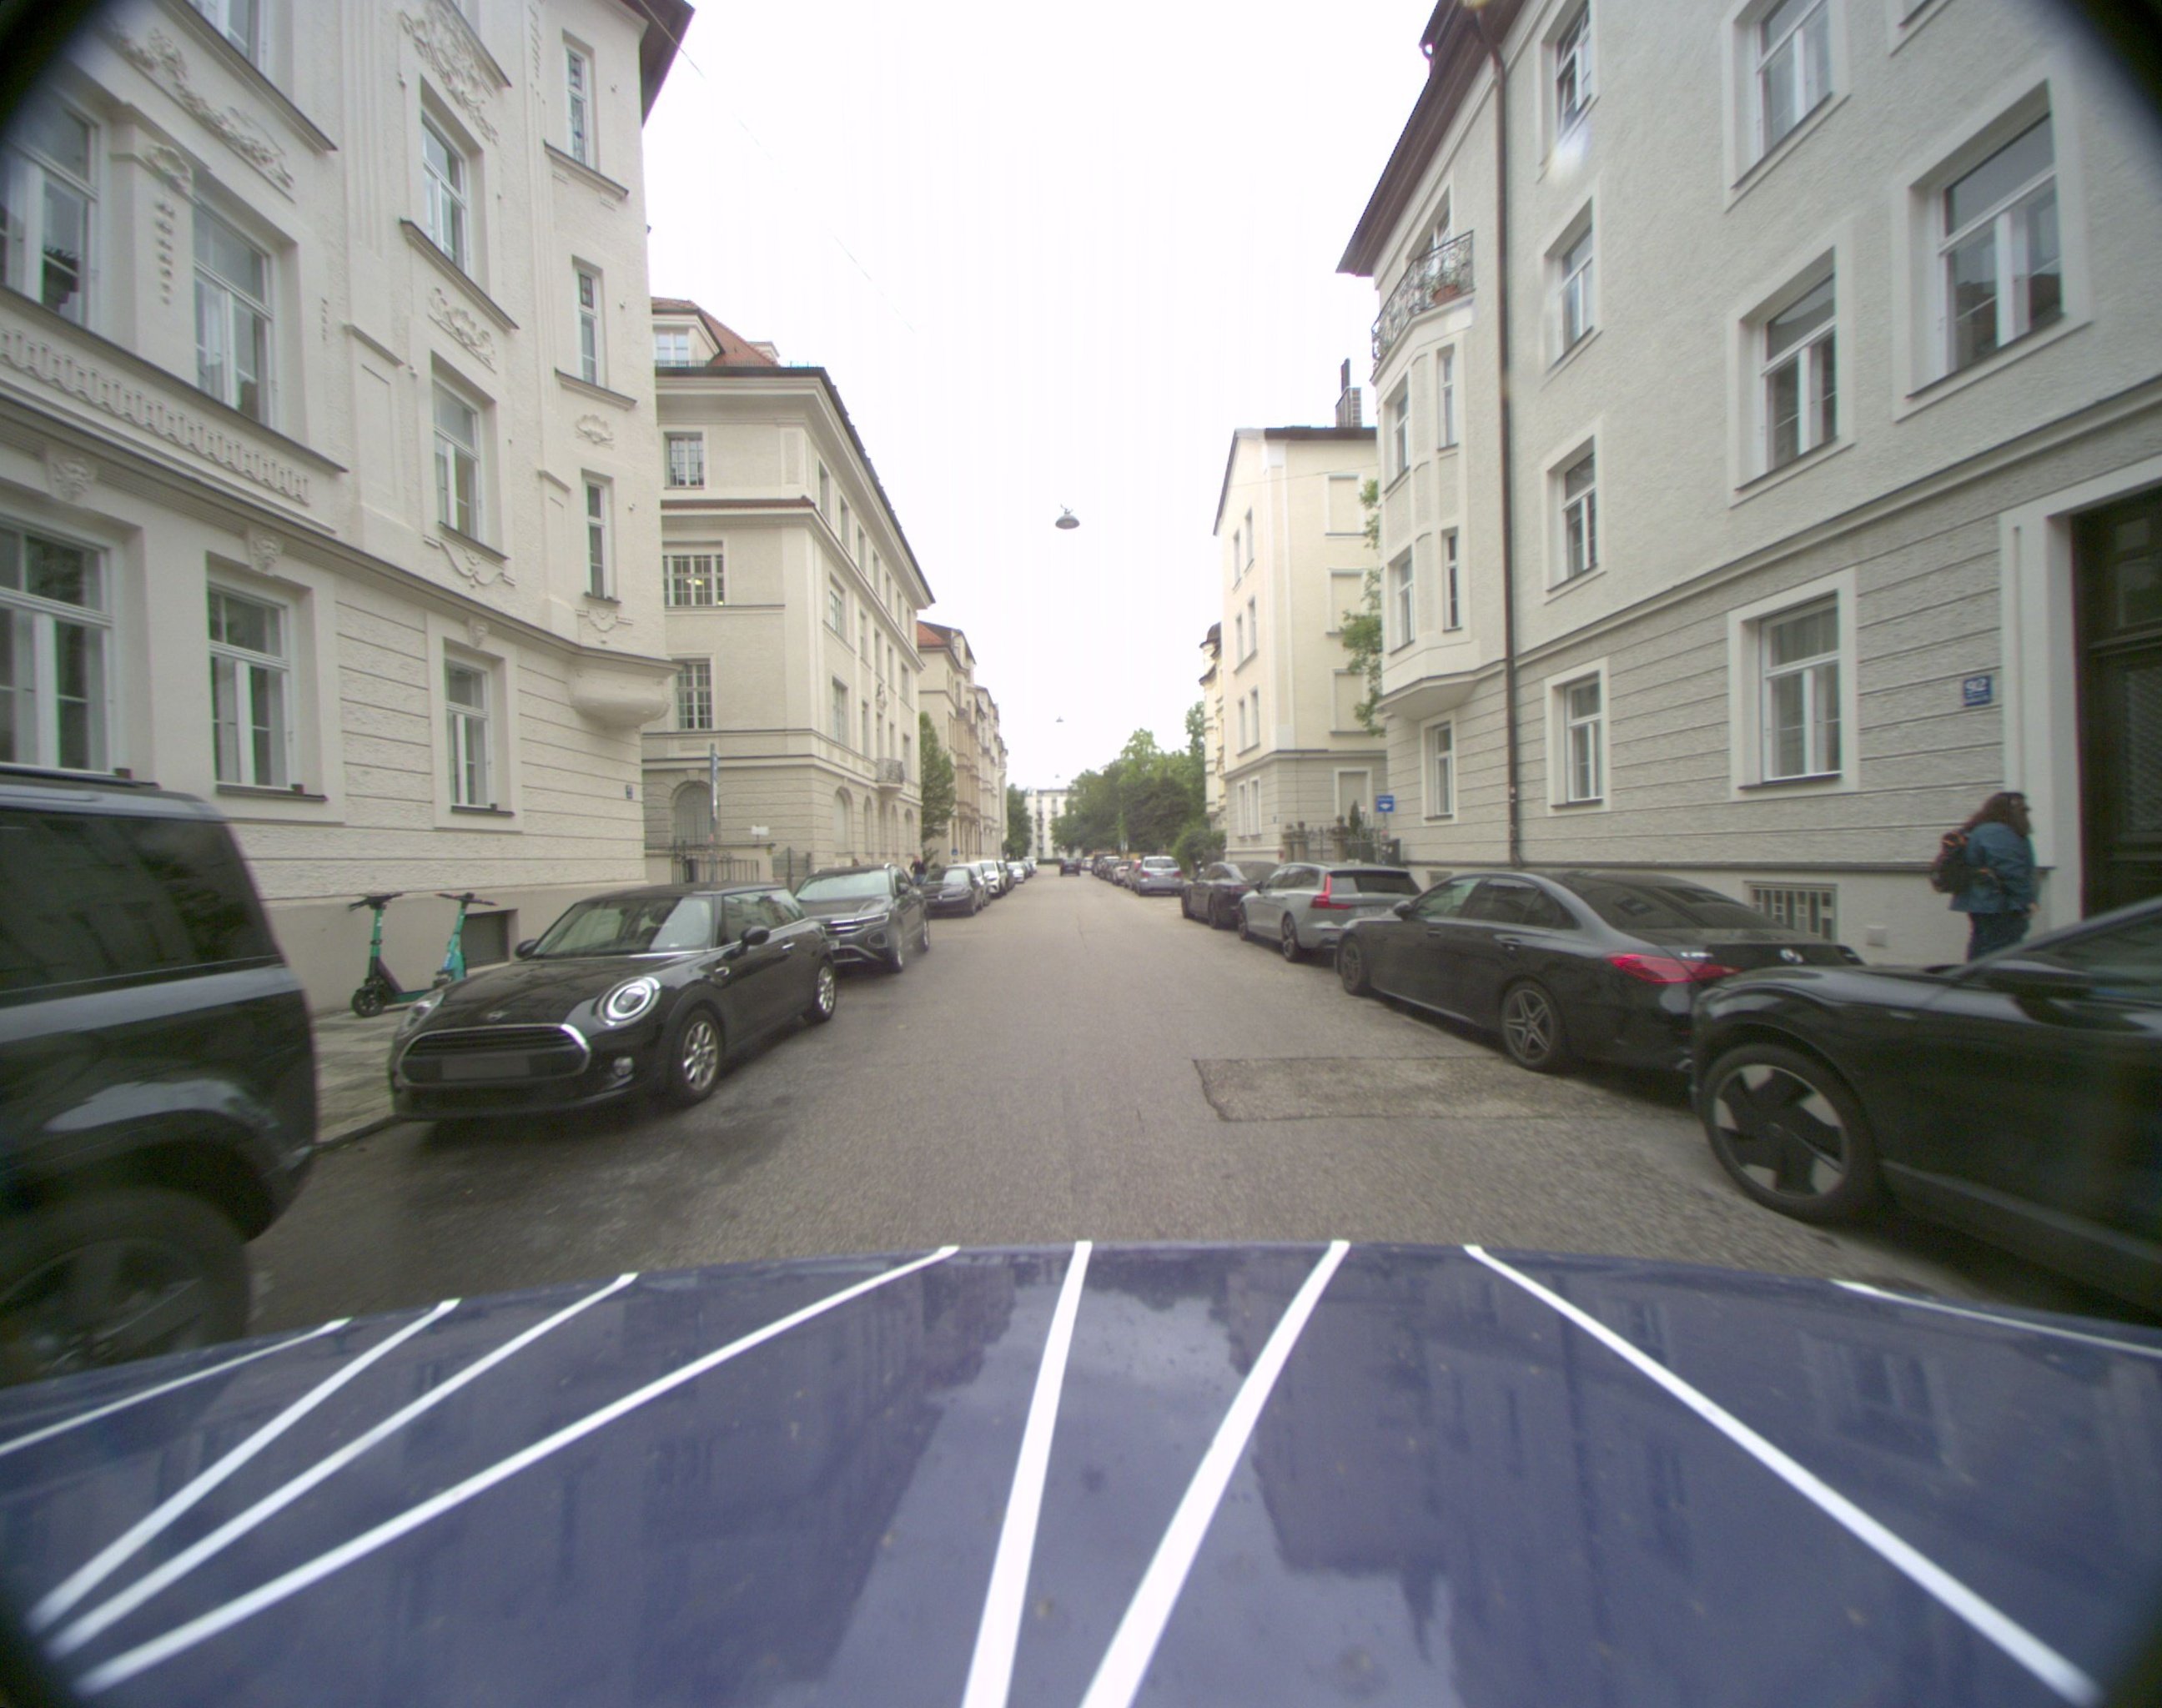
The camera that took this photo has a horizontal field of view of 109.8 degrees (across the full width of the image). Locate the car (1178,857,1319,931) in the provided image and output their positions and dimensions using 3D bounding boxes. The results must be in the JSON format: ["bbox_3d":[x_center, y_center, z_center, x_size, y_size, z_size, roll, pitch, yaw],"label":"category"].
[{"bbox_3d":[3.582,0.795,17.230,1.855,1.359,4.700,-2,0,-4],"label":"car"}]

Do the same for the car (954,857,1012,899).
[{"bbox_3d":[-4.152,0.976,32.721,1.900,1.626,4.391,-2,-1,0],"label":"car"}]

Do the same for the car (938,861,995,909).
[{"bbox_3d":[-4.138,1.075,27.997,1.713,1.492,3.998,-3,0,-4],"label":"car"}]

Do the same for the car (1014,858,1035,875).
[{"bbox_3d":[-5.061,1.120,68.512,1.646,1.409,3.999,-3,0,-1],"label":"car"}]

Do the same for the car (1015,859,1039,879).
[{"bbox_3d":[-4.495,1.258,63.845,1.746,1.390,4.021,-4,1,-1],"label":"car"}]

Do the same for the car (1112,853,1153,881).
[{"bbox_3d":[2.809,0.681,42.252,1.802,1.426,4.078,-2,1,-2],"label":"car"}]

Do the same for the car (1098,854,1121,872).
[{"bbox_3d":[2.360,0.729,64.068,1.647,1.422,3.918,1,0,-3],"label":"car"}]

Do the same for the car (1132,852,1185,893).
[{"bbox_3d":[3.119,0.709,31.276,1.701,1.571,4.061,0,0,-1],"label":"car"}]

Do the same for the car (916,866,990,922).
[{"bbox_3d":[-3.765,1.127,22.980,1.617,1.387,3.999,-4,0,-2],"label":"car"}]

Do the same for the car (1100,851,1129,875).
[{"bbox_3d":[2.601,0.662,59.805,1.811,1.638,4.484,-5,0,-2],"label":"car"}]

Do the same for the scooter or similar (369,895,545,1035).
[{"bbox_3d":[-6.688,1.136,8.242,0.541,1.280,1.504,0,1,7],"label":"scooter or similar"}]

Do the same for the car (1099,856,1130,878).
[{"bbox_3d":[2.351,0.895,54.354,1.773,1.412,3.998,-2,1,-4],"label":"car"}]

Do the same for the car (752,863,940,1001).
[{"bbox_3d":[-3.336,1.007,11.591,1.712,1.578,3.999,-4,0,-3],"label":"car"}]

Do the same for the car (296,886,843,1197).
[{"bbox_3d":[-3.300,1.085,5.861,1.668,1.387,3.581,-4,0,1],"label":"car"}]

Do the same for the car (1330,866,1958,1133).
[{"bbox_3d":[3.930,0.843,6.487,1.816,1.377,4.441,-1,0,-5],"label":"car"}]

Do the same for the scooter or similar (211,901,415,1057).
[{"bbox_3d":[-7.378,1.143,7.385,0.507,1.280,1.352,0,1,7],"label":"scooter or similar"}]

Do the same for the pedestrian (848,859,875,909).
[{"bbox_3d":[-7.412,0.997,25.654,0.684,1.669,0.812,0,0,-2],"label":"pedestrian"}]

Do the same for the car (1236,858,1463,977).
[{"bbox_3d":[3.806,0.808,11.724,1.799,1.411,4.509,1,1,-1],"label":"car"}]

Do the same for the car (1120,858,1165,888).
[{"bbox_3d":[2.966,0.886,37.251,1.649,1.395,3.998,0,0,-4],"label":"car"}]

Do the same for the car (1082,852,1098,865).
[{"bbox_3d":[1.109,0.563,96.495,1.705,1.552,3.929,-1,0,-3],"label":"car"}]

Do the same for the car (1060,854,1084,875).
[{"bbox_3d":[-0.824,0.863,66.040,1.729,1.525,4.083,-5,1,-3],"label":"car"}]

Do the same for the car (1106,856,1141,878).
[{"bbox_3d":[2.763,0.803,49.853,1.740,1.357,4.191,0,0,-4],"label":"car"}]

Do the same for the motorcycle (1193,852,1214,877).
[{"bbox_3d":[6.714,0.550,41.601,0.706,1.242,1.820,-4,1,-3],"label":"motorcycle"}]

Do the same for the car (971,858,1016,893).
[{"bbox_3d":[-4.272,1.028,37.748,1.753,1.516,4.169,-3,0,-1],"label":"car"}]

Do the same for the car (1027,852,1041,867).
[{"bbox_3d":[-6.768,0.741,108.527,1.794,1.926,4.083,-4,0,-4],"label":"car"}]

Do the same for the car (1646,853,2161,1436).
[{"bbox_3d":[3.722,0.773,1.664,1.746,1.478,4.180,-2,0,-2],"label":"car"}]

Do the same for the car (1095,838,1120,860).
[{"bbox_3d":[2.357,-0.435,68.965,1.917,1.875,4.815,-1,1,-2],"label":"car"}]

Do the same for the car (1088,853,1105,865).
[{"bbox_3d":[1.816,0.585,91.655,1.705,1.483,3.954,-1,0,-3],"label":"car"}]

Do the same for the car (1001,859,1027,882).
[{"bbox_3d":[-4.700,1.133,53.678,1.667,1.499,4.063,-3,0,-4],"label":"car"}]

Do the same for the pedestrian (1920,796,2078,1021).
[{"bbox_3d":[7.434,0.412,6.192,0.663,1.697,0.701,-2,1,38],"label":"pedestrian"}]

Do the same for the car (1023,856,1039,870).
[{"bbox_3d":[-5.877,1.024,89.370,1.715,1.462,4.083,-4,0,-4],"label":"car"}]
